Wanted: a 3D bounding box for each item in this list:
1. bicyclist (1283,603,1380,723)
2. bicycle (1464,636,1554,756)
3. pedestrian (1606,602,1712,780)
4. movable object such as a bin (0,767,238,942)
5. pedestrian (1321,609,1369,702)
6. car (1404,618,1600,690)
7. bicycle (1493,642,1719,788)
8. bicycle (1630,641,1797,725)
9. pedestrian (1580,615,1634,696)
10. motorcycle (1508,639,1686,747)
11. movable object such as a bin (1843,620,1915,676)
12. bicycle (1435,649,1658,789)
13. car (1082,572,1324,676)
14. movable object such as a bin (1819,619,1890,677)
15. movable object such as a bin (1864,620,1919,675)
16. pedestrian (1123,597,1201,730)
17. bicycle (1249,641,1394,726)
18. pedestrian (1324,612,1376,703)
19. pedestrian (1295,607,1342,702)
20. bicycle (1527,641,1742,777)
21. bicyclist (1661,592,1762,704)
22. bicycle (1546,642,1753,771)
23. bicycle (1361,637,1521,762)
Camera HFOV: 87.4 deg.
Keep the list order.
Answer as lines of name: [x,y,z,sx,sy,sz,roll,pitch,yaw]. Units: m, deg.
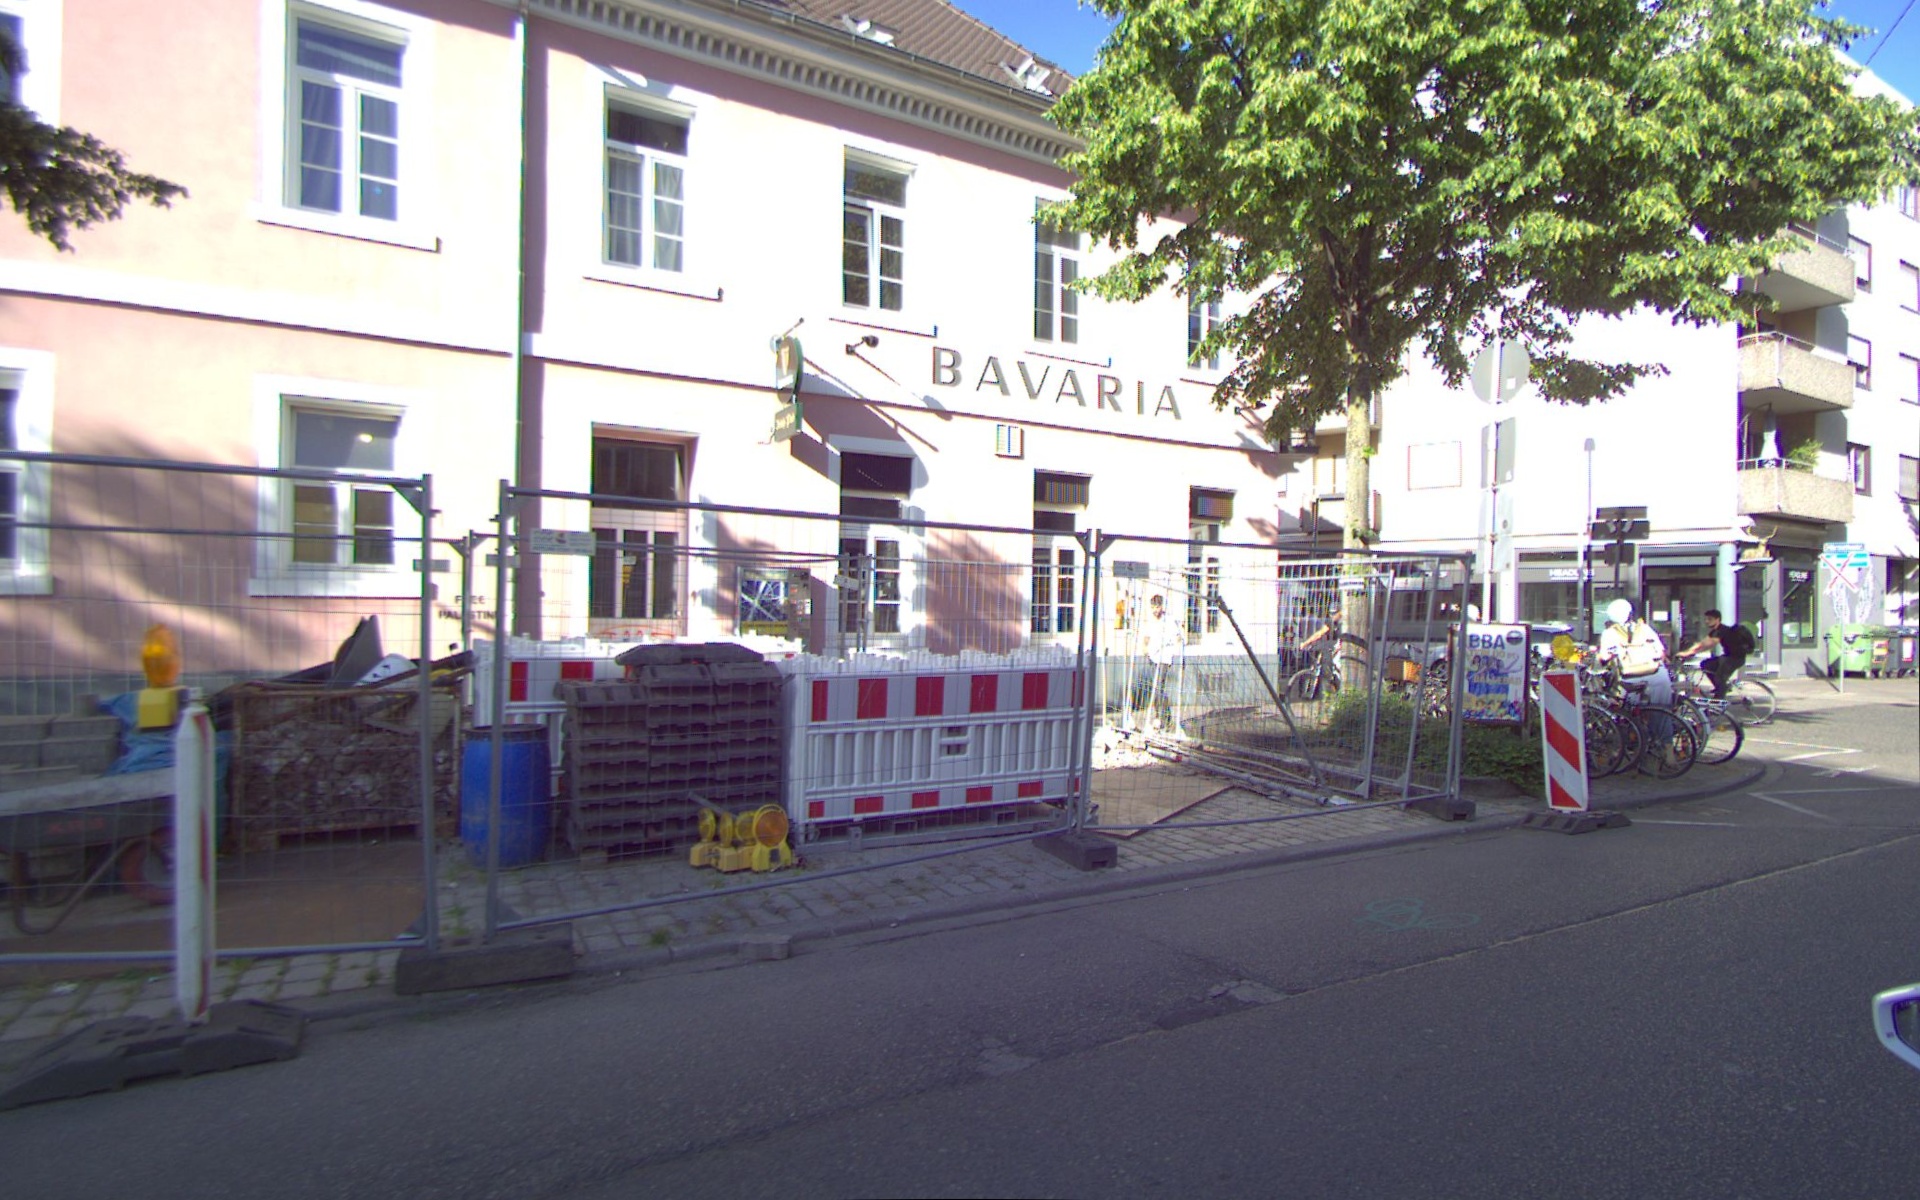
bicyclist: [5.101,0.839,13.809,1.027,1.581,0.764,1,-1,-27]
bicycle: [6.542,1.096,12.048,0.588,1.269,1.794,1,0,17]
pedestrian: [7.190,0.897,10.371,0.780,1.730,0.766,1,0,27]
movable object such as a bin: [-4.098,1.176,4.731,1.065,0.624,0.625,1,-2,-30]
pedestrian: [7.600,1.076,19.840,0.651,1.783,0.649,1,-1,-38]
car: [13.296,1.286,24.725,3.940,1.632,1.991,-2,-2,40]
bicycle: [6.509,1.106,10.220,0.595,1.269,1.841,1,0,-37]
bicycle: [11.896,1.293,15.949,1.997,1.236,0.721,0,-1,24]
pedestrian: [13.567,1.157,21.090,0.676,1.664,0.774,0,-1,7]
motorcycle: [8.318,1.168,13.177,0.751,1.246,1.836,1,0,-41]
movable object such as a bin: [25.297,1.304,27.654,1.300,1.504,1.165,1,-1,-32]
bicycle: [5.824,1.129,10.084,0.595,1.186,1.841,1,0,-37]
car: [7.112,0.703,29.780,6.392,2.754,2.899,-1,-1,35]
movable object such as a bin: [24.022,1.261,26.987,1.222,1.504,1.134,1,-1,-32]
movable object such as a bin: [26.655,1.324,28.525,1.300,1.504,1.165,1,-1,-32]
pedestrian: [2.626,0.807,13.080,0.803,1.675,0.608,1,-1,-27]
bicycle: [4.943,1.105,13.726,1.930,1.073,0.764,1,-1,-27]
pedestrian: [7.415,1.086,19.122,0.646,1.690,0.654,0,-1,-19]
pedestrian: [6.862,1.028,19.207,0.646,1.783,0.653,-1,-1,42]
bicycle: [7.271,1.122,10.912,0.595,1.269,1.841,1,0,-37]
bicyclist: [11.903,0.751,15.953,1.135,1.715,0.721,0,-1,24]
bicycle: [7.743,1.145,11.365,0.595,1.269,1.841,1,0,-37]
bicycle: [5.519,1.098,11.652,0.591,1.269,1.786,1,0,-18]
